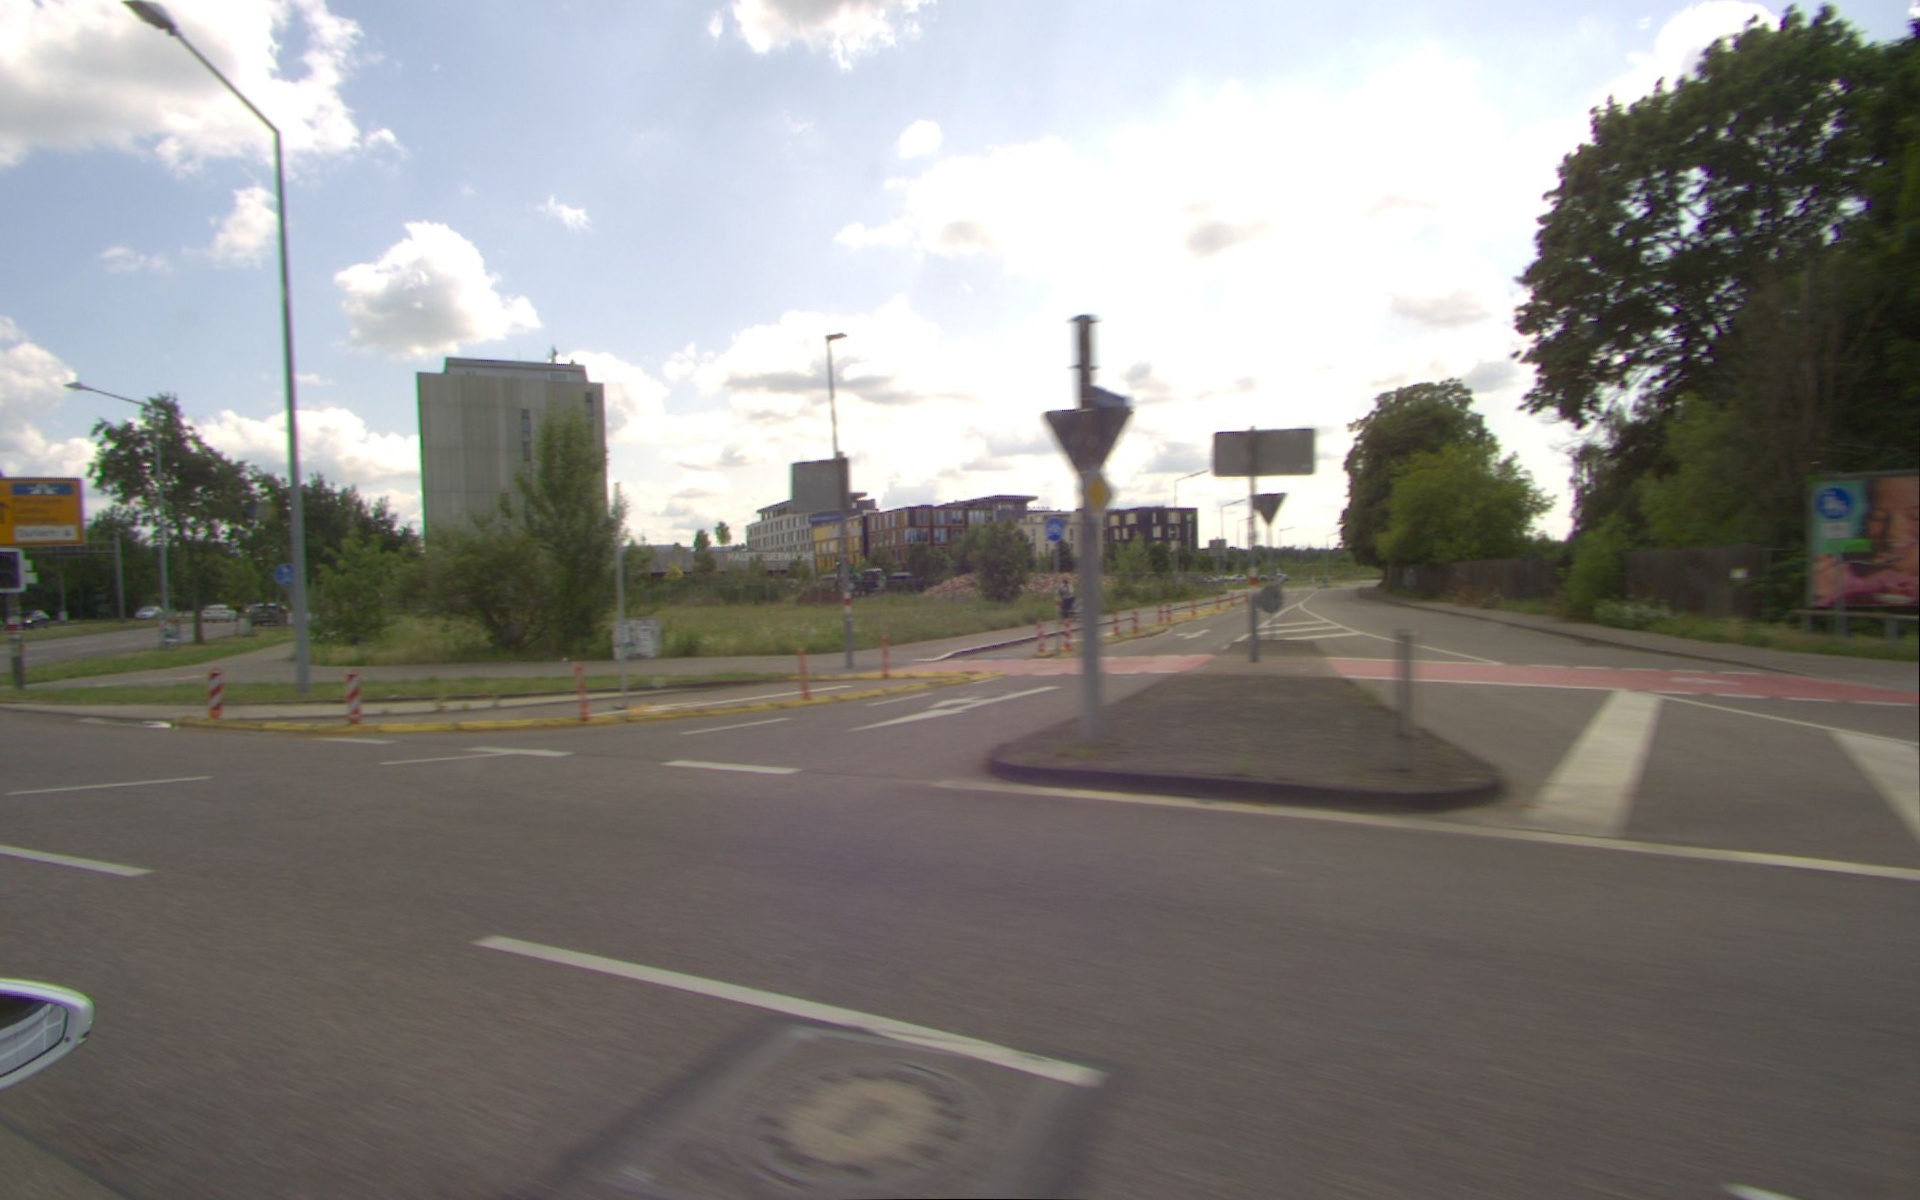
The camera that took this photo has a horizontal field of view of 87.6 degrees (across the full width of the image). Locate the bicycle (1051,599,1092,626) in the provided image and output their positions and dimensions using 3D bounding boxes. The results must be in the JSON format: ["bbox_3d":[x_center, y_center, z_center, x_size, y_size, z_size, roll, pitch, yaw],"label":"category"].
[{"bbox_3d":[4.396,0.493,39.268,0.862,1.031,2.536,-1,-1,24],"label":"bicycle"}]

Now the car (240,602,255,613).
[{"bbox_3d":[-111.528,1.099,156.743,1.725,1.590,4.243,-4,2,-37],"label":"car"}]

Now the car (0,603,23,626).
[{"bbox_3d":[-69.179,1.079,71.549,1.701,1.612,4.992,-3,1,-26],"label":"car"}]

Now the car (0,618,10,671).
[{"bbox_3d":[-27.291,1.255,26.755,1.663,1.483,3.982,-1,0,-27],"label":"car"}]

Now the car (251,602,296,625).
[{"bbox_3d":[-53.065,1.032,77.471,1.967,1.648,4.294,-1,1,-23],"label":"car"}]

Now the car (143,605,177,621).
[{"bbox_3d":[-83.381,1.315,104.405,1.741,1.459,4.291,-3,2,-26],"label":"car"}]

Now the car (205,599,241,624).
[{"bbox_3d":[-63.783,0.970,86.732,1.970,2.040,3.981,-1,0,-28],"label":"car"}]

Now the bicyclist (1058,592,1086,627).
[{"bbox_3d":[4.386,0.363,39.248,0.862,1.342,0.809,-1,0,26],"label":"bicyclist"}]

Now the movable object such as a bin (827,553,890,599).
[{"bbox_3d":[-9.250,-2.090,92.111,2.994,3.902,7.606,-1,-1,17],"label":"movable object such as a bin"}]

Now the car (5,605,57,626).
[{"bbox_3d":[-78.431,1.275,84.599,1.741,1.598,5.009,-3,2,-26],"label":"car"}]
